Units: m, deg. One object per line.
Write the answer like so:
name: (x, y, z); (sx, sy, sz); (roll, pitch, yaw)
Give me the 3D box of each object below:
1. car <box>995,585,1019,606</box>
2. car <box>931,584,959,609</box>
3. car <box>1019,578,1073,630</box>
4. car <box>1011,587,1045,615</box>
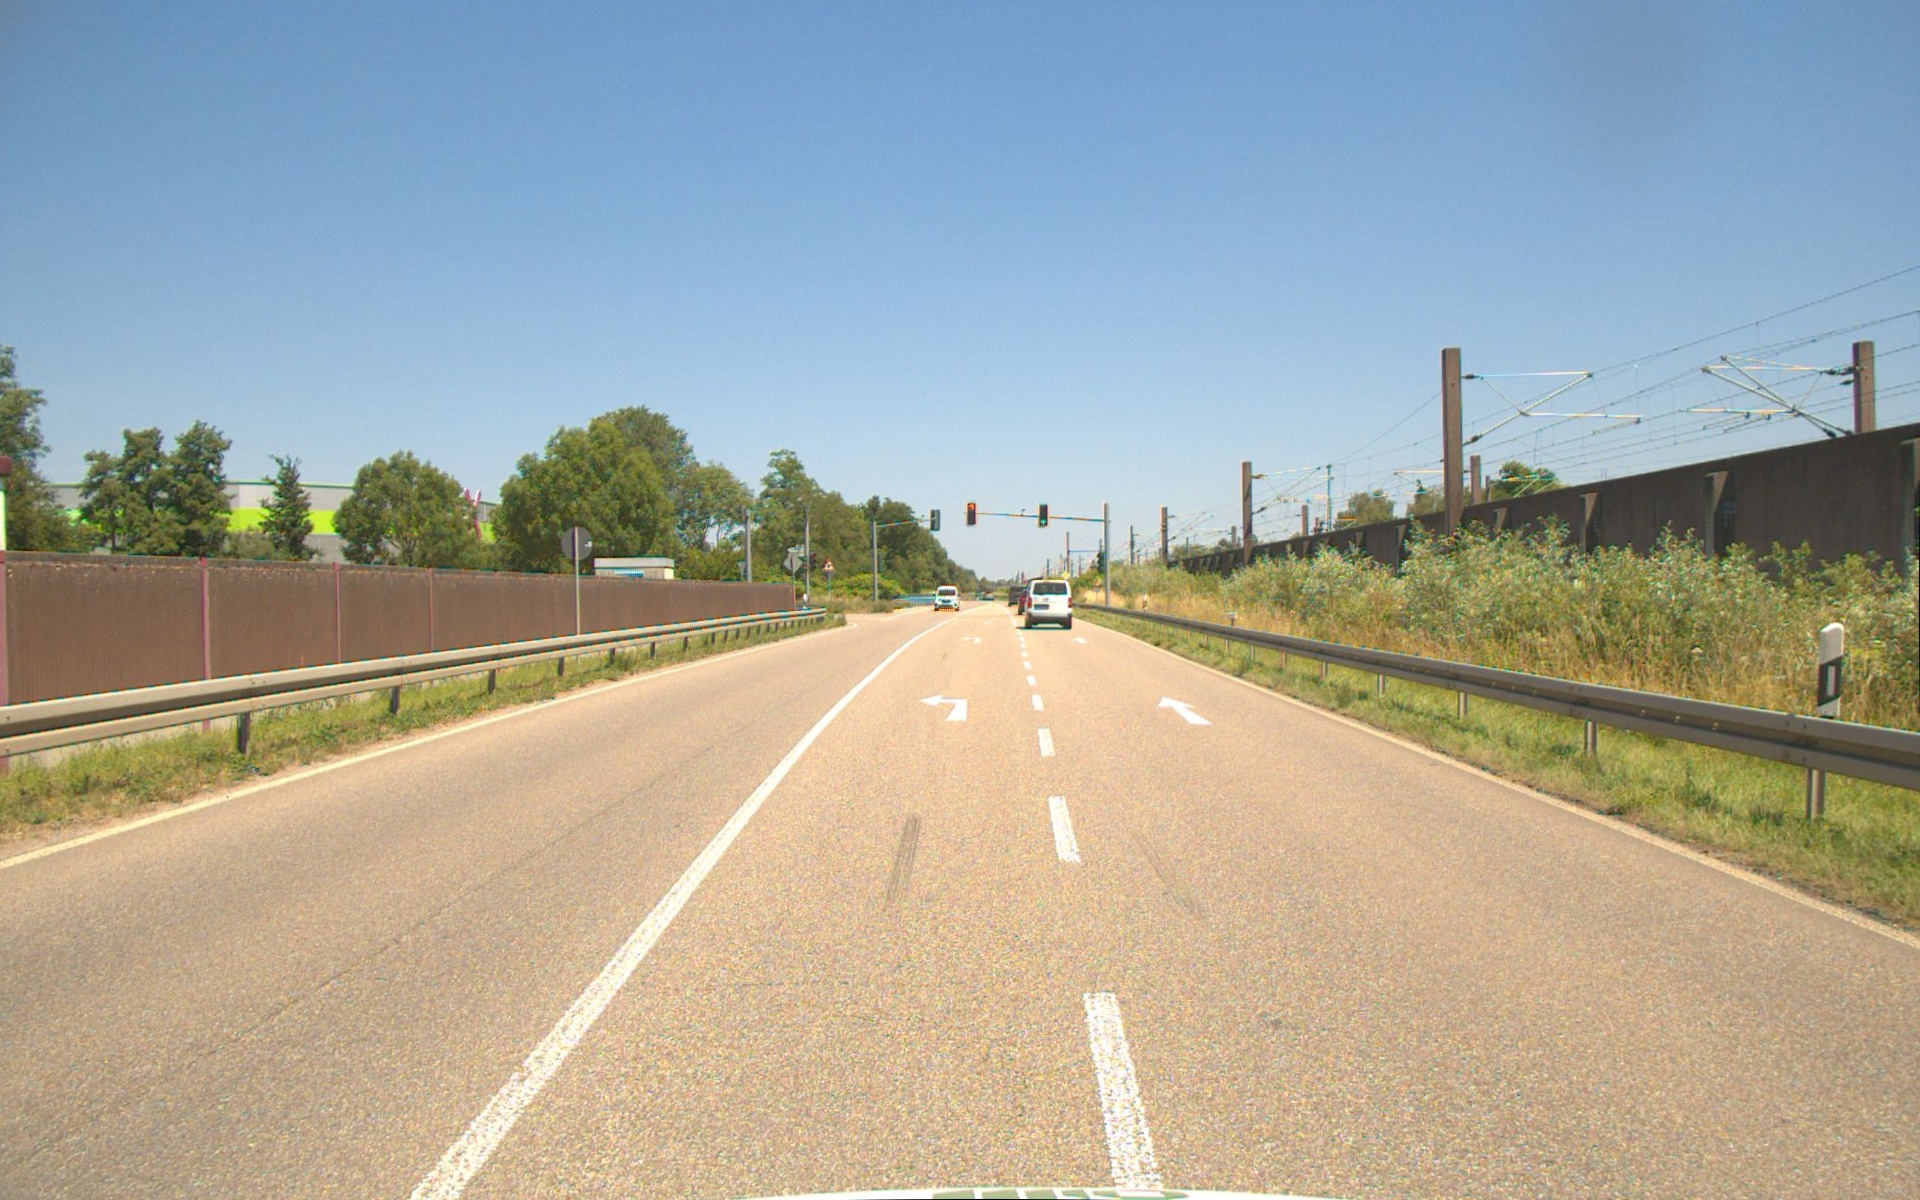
car: (4.529, -0.404, 158.947); (2.111, 2.002, 4.542); (0, 0, 0)
car: (-1.124, -0.277, 123.694); (1.850, 1.770, 4.773); (0, 0, -4)
car: (3.447, 0.134, 67.091); (1.953, 2.018, 4.060); (1, 0, 0)
car: (4.353, 0.056, 106.205); (1.978, 1.756, 4.542); (0, 0, 0)
